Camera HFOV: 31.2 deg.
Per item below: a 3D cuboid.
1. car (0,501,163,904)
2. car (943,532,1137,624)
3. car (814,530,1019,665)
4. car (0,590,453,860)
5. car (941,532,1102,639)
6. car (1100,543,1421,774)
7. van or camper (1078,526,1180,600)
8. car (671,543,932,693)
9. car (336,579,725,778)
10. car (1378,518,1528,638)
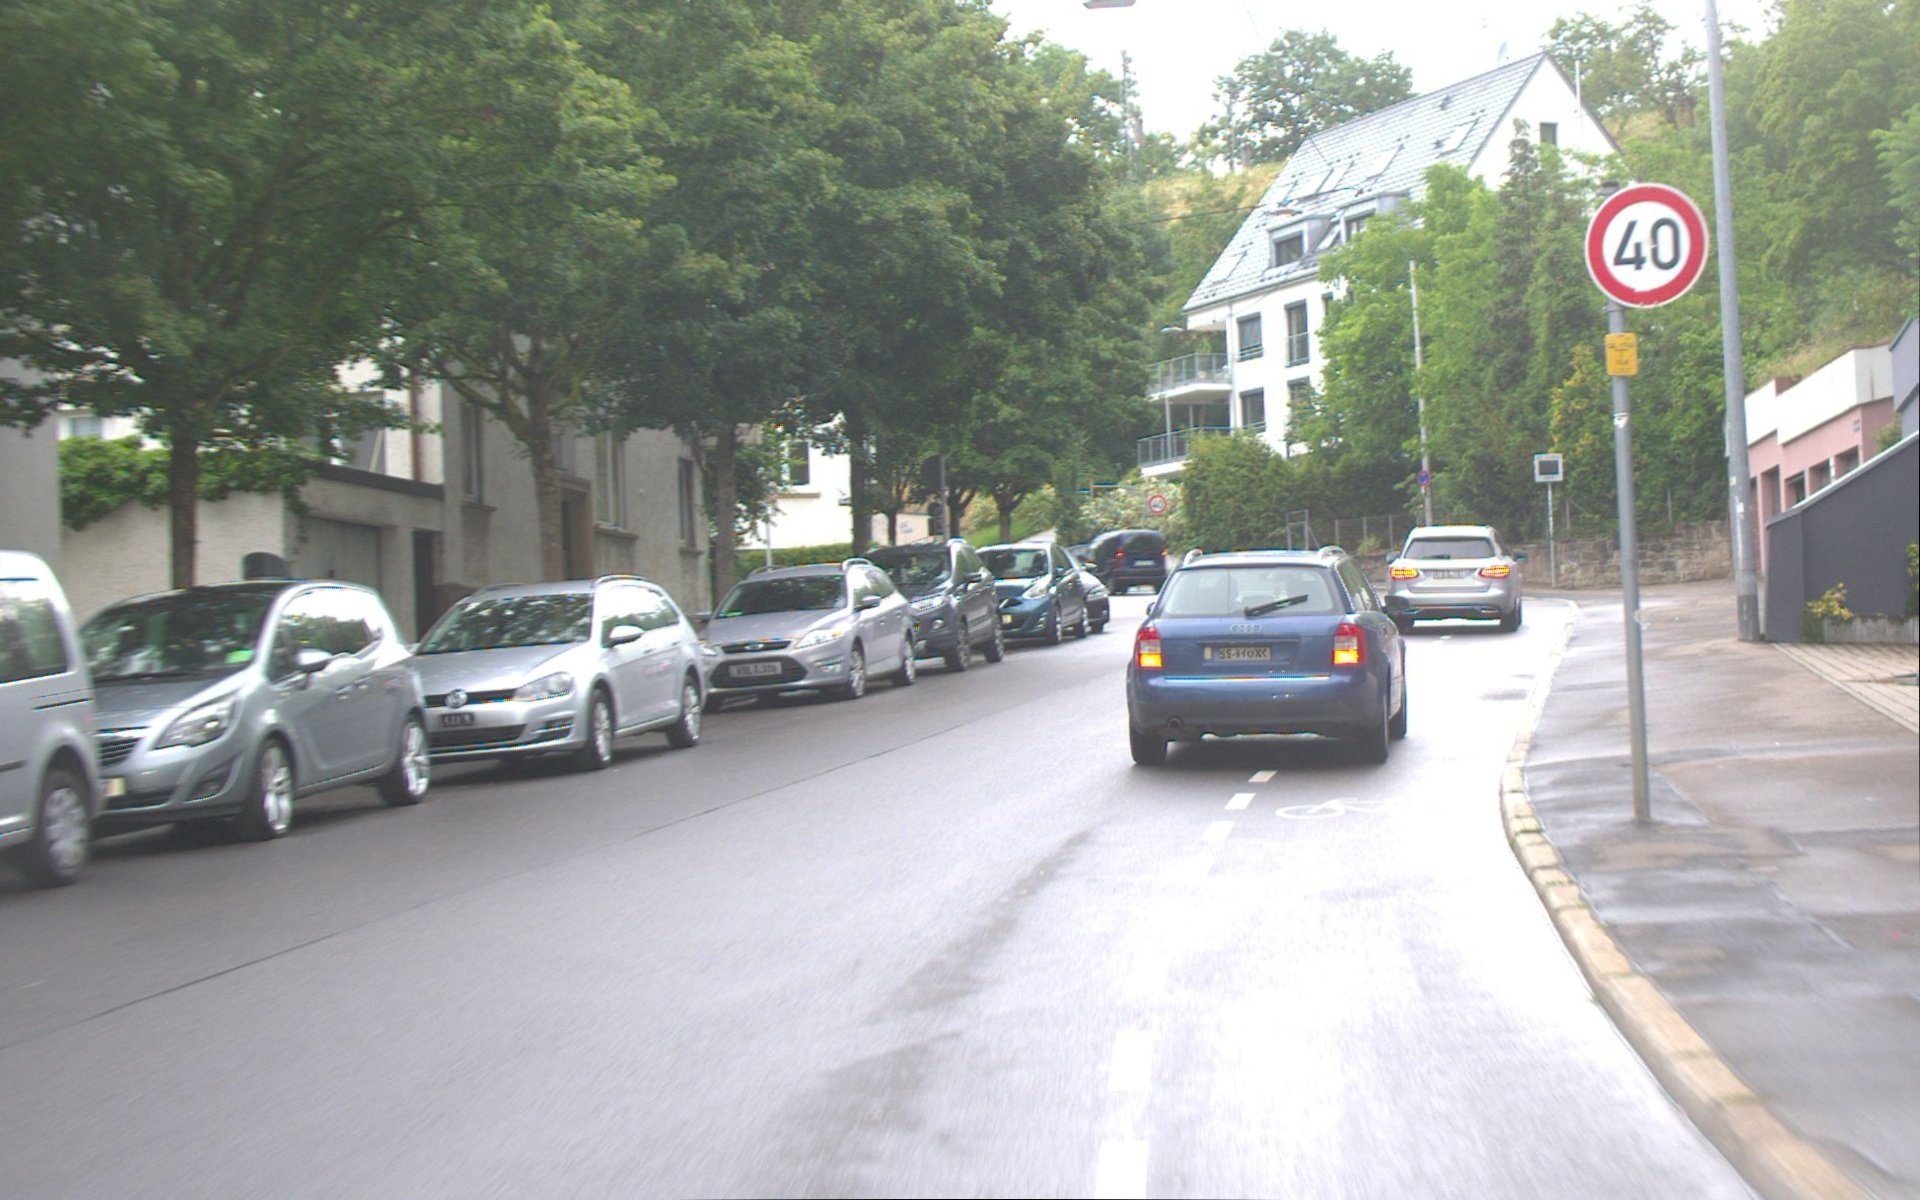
[{"bbox_3d":[-5.744,0.515,16.867,1.915,1.994,4.546,-1,0,10],"label":"car"},{"bbox_3d":[1.259,-0.345,56.256,1.993,1.386,4.199,-2,0,-16],"label":"car"},{"bbox_3d":[-0.502,-0.057,44.180,1.805,1.621,4.137,-1,1,11],"label":"car"},{"bbox_3d":[-4.804,0.739,21.961,1.805,1.480,4.234,-4,-1,9],"label":"car"},{"bbox_3d":[0.968,-0.241,51.496,1.713,1.457,3.879,0,2,12],"label":"car"},{"bbox_3d":[2.219,0.347,24.342,1.854,1.409,4.360,-2,1,10],"label":"car"},{"bbox_3d":[4.835,-1.048,99.042,1.993,2.007,4.001,0,-1,-11],"label":"van or camper"},{"bbox_3d":[-1.671,0.191,38.038,1.805,1.547,4.797,-1,0,11],"label":"car"},{"bbox_3d":[-3.320,0.584,27.523,1.805,1.448,4.595,-1,0,10],"label":"car"},{"bbox_3d":[6.959,-0.352,48.228,1.951,1.556,4.262,2,2,9],"label":"car"}]
